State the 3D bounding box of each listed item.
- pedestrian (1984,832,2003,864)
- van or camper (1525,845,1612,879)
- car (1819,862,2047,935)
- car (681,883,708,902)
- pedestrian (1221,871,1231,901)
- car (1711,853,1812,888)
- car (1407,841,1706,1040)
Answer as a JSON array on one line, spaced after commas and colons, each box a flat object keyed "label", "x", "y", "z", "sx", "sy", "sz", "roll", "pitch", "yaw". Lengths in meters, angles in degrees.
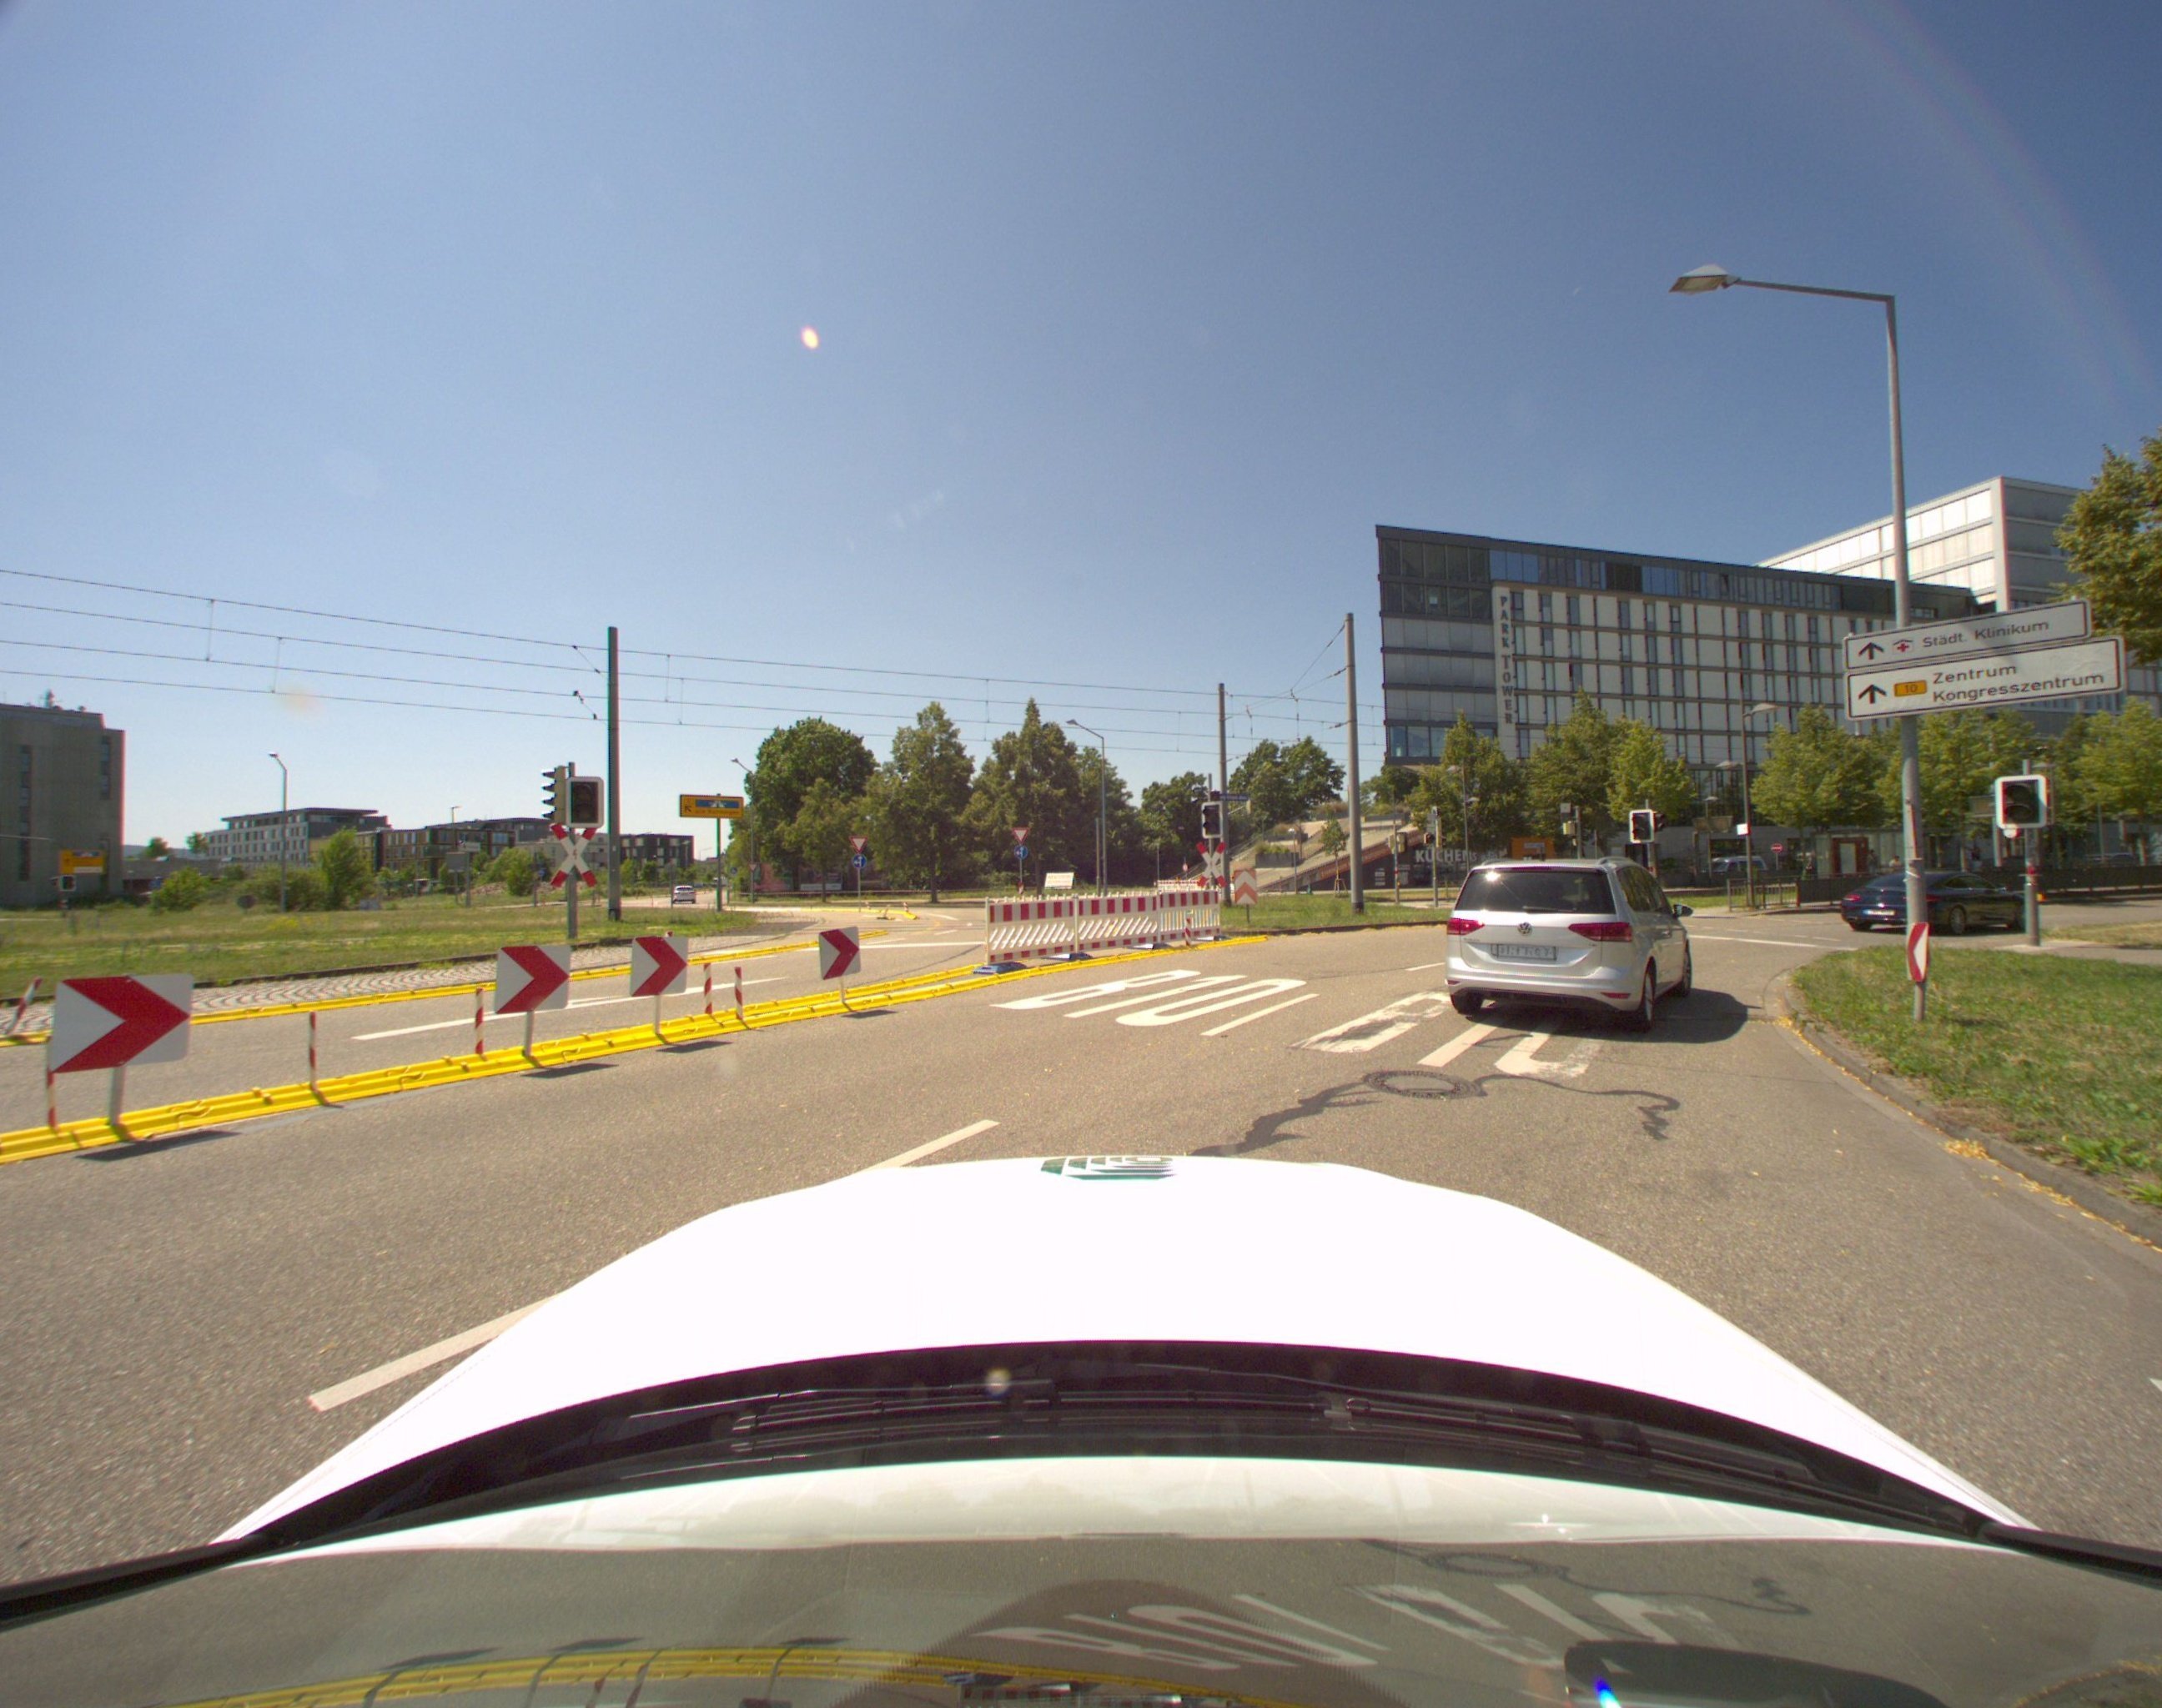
[{"label": "pedestrian", "x": 49.621, "y": -0.321, "z": 44.285, "sx": 0.585, "sy": 1.752, "sz": 0.408, "roll": 0, "pitch": -2, "yaw": -17}, {"label": "van or camper", "x": 41.480, "y": 0.666, "z": 69.272, "sx": 6.781, "sy": 2.822, "sz": 2.369, "roll": 0, "pitch": -2, "yaw": -17}, {"label": "car", "x": 19.506, "y": 0.953, "z": 18.630, "sx": 4.958, "sy": 1.437, "sz": 1.844, "roll": -1, "pitch": -2, "yaw": -22}, {"label": "car", "x": -32.704, "y": 3.247, "z": 68.884, "sx": 2.004, "sy": 1.486, "sz": 4.328, "roll": 0, "pitch": -1, "yaw": -26}, {"label": "pedestrian", "x": 8.287, "y": 1.833, "z": 46.597, "sx": 0.448, "sy": 1.739, "sz": 0.290, "roll": 0, "pitch": -2, "yaw": -15}, {"label": "car", "x": 43.222, "y": 1.022, "z": 51.753, "sx": 5.531, "sy": 2.106, "sz": 1.991, "roll": 0, "pitch": -2, "yaw": -14}, {"label": "car", "x": 5.468, "y": 0.748, "z": 9.044, "sx": 1.784, "sy": 1.649, "sz": 4.631, "roll": -1, "pitch": -1, "yaw": 44}]
